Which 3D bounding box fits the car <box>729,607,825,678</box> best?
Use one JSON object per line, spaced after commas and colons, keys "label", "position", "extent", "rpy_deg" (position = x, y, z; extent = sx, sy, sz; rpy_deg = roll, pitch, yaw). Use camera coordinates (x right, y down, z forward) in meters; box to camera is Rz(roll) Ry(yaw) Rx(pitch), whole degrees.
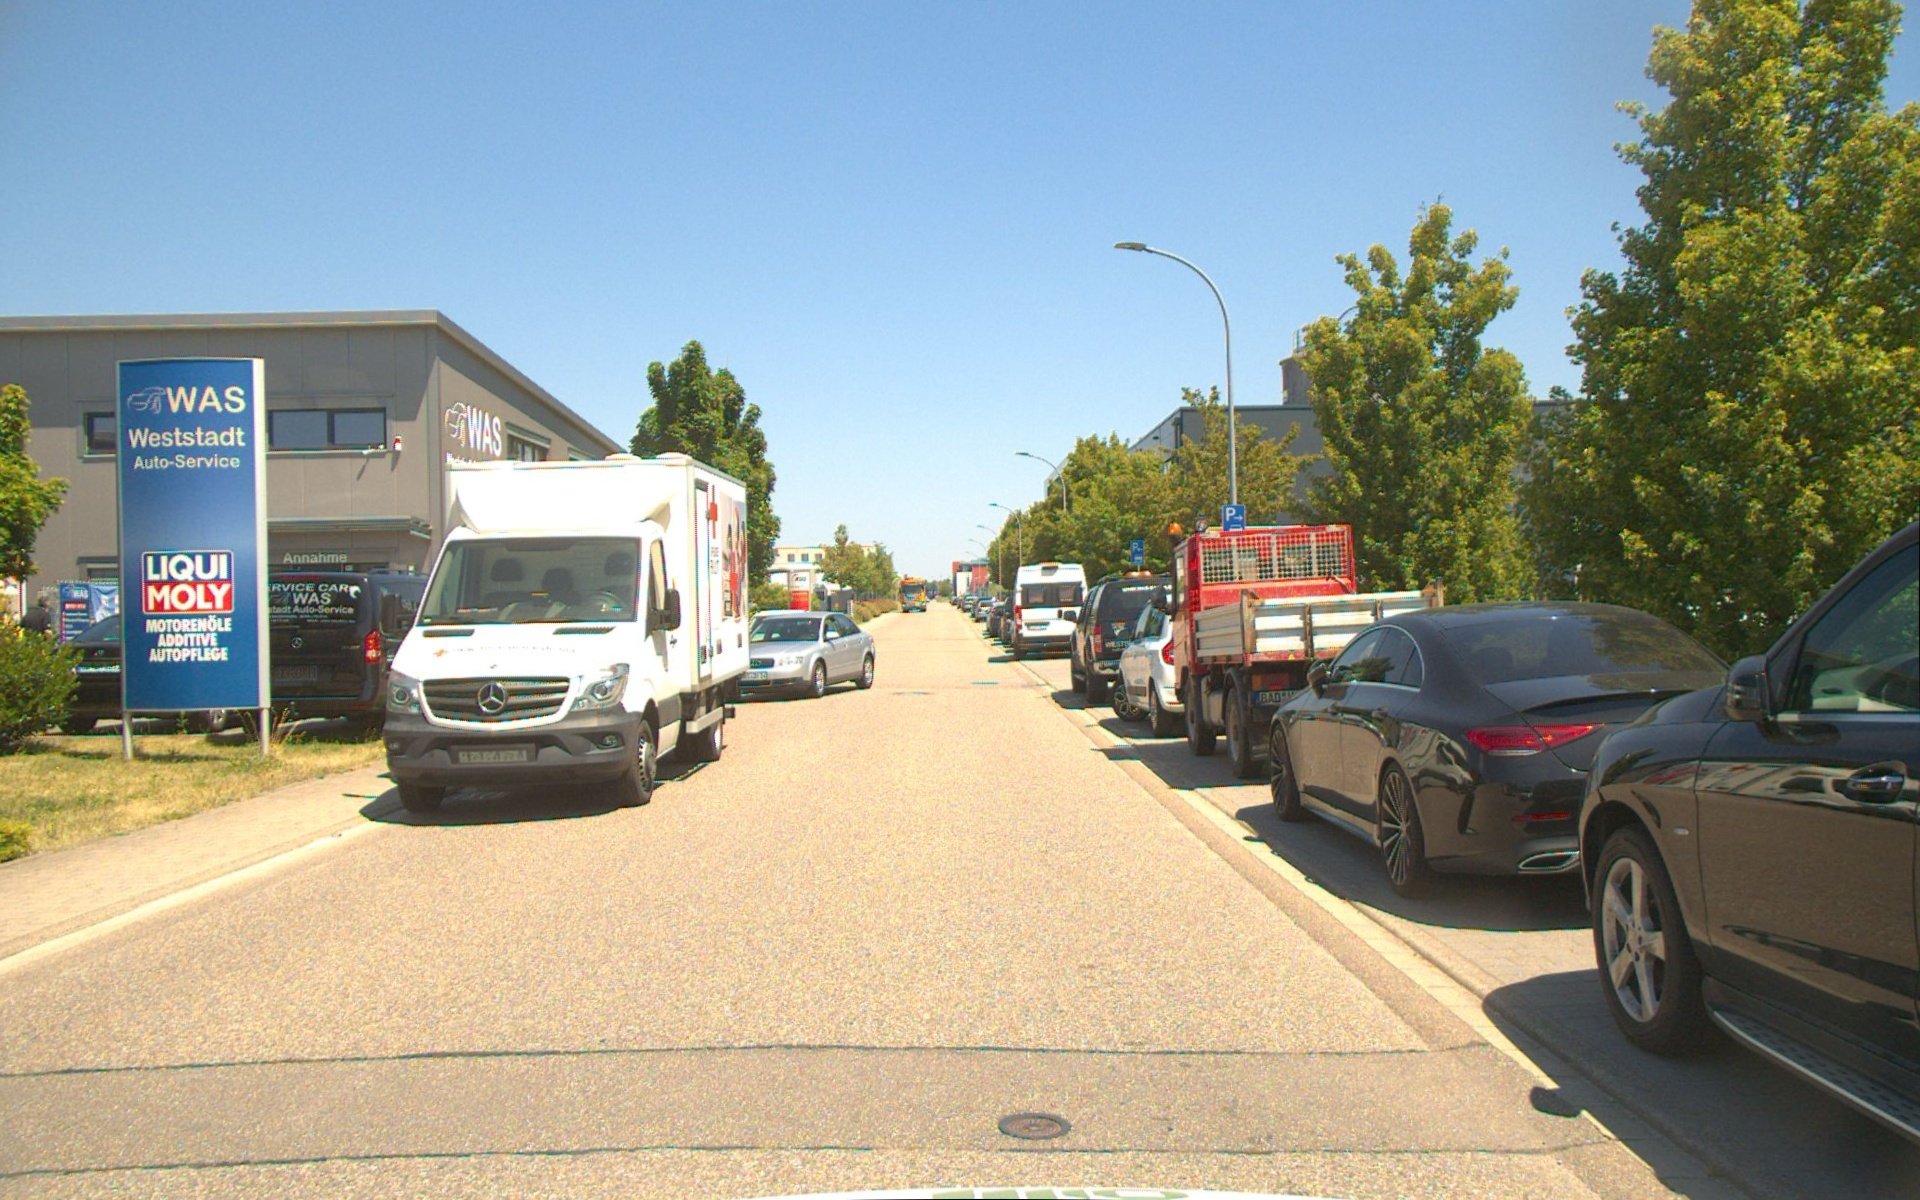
{"label": "car", "position": [-4.013, 0.903, 36.927], "extent": [1.695, 1.484, 4.490], "rpy_deg": [-1, 0, -1]}

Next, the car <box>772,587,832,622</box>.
{"label": "car", "position": [-12.510, 0.374, 131.206], "extent": [4.623, 2.631, 1.998], "rpy_deg": [-1, 0, -5]}

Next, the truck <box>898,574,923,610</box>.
{"label": "truck", "position": [-5.170, -0.895, 173.306], "extent": [2.399, 3.574, 8.271], "rpy_deg": [-2, 0, -1]}

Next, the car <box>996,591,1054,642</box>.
{"label": "car", "position": [2.483, 0.647, 63.964], "extent": [1.953, 1.857, 4.353], "rpy_deg": [-2, 0, -1]}

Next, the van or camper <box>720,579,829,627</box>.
{"label": "van or camper", "position": [-12.811, 0.212, 114.867], "extent": [7.235, 3.090, 2.789], "rpy_deg": [-1, 0, -2]}

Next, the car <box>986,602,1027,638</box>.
{"label": "car", "position": [2.169, 0.908, 76.266], "extent": [1.673, 1.531, 4.708], "rpy_deg": [-2, 0, 4]}

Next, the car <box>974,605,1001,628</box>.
{"label": "car", "position": [1.878, 1.092, 113.206], "extent": [1.683, 1.475, 3.645], "rpy_deg": [-2, 0, -1]}

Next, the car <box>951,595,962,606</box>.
{"label": "car", "position": [-0.479, 0.061, 225.007], "extent": [1.465, 1.434, 3.499], "rpy_deg": [-1, 0, -1]}

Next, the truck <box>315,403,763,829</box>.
{"label": "truck", "position": [-3.380, 0.125, 14.999], "extent": [2.313, 2.909, 6.414], "rpy_deg": [-3, 0, 0]}

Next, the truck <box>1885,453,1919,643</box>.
{"label": "truck", "position": [22.381, -1.123, 34.113], "extent": [4.959, 3.943, 2.803], "rpy_deg": [-1, -1, 0]}

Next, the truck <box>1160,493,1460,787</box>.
{"label": "truck", "position": [3.015, 0.322, 15.180], "extent": [1.645, 2.219, 4.389], "rpy_deg": [-3, 0, -1]}

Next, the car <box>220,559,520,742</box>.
{"label": "car", "position": [-7.177, 0.565, 20.773], "extent": [1.953, 1.991, 5.217], "rpy_deg": [-1, 0, -1]}

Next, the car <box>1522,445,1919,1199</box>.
{"label": "car", "position": [3.056, 0.486, 3.882], "extent": [1.774, 1.755, 4.773], "rpy_deg": [-3, 0, 0]}

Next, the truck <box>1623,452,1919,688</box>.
{"label": "truck", "position": [12.399, -0.429, 22.548], "extent": [5.704, 2.964, 2.414], "rpy_deg": [-2, 0, -2]}

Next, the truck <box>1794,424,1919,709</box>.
{"label": "truck", "position": [12.693, -0.414, 18.278], "extent": [5.785, 2.922, 2.305], "rpy_deg": [-2, 0, -4]}

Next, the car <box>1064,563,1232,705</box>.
{"label": "car", "position": [2.813, 0.487, 25.937], "extent": [1.953, 1.917, 5.155], "rpy_deg": [-2, 0, 0]}

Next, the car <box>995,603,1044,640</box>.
{"label": "car", "position": [2.509, 0.900, 70.460], "extent": [1.813, 1.456, 4.711], "rpy_deg": [-2, 0, -1]}

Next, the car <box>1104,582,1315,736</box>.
{"label": "car", "position": [2.852, 0.640, 19.729], "extent": [1.703, 1.557, 3.998], "rpy_deg": [-3, 0, -2]}

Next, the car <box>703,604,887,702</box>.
{"label": "car", "position": [-2.786, 0.872, 29.021], "extent": [1.745, 1.447, 4.417], "rpy_deg": [-3, 0, 14]}

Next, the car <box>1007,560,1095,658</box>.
{"label": "car", "position": [2.492, 0.243, 46.932], "extent": [2.221, 2.541, 6.153], "rpy_deg": [-2, 0, 1]}

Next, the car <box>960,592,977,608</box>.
{"label": "car", "position": [0.785, 0.001, 160.401], "extent": [1.553, 1.434, 3.499], "rpy_deg": [-1, 0, -1]}

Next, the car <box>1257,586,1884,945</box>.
{"label": "car", "position": [2.989, 0.696, 9.334], "extent": [1.663, 1.407, 4.836], "rpy_deg": [-3, 0, 0]}

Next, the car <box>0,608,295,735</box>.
{"label": "car", "position": [-10.514, 0.834, 21.467], "extent": [1.892, 1.441, 4.768], "rpy_deg": [1, 0, -1]}

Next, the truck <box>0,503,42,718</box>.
{"label": "truck", "position": [-19.848, 0.165, 29.168], "extent": [7.884, 3.619, 2.583], "rpy_deg": [0, 0, 28]}
